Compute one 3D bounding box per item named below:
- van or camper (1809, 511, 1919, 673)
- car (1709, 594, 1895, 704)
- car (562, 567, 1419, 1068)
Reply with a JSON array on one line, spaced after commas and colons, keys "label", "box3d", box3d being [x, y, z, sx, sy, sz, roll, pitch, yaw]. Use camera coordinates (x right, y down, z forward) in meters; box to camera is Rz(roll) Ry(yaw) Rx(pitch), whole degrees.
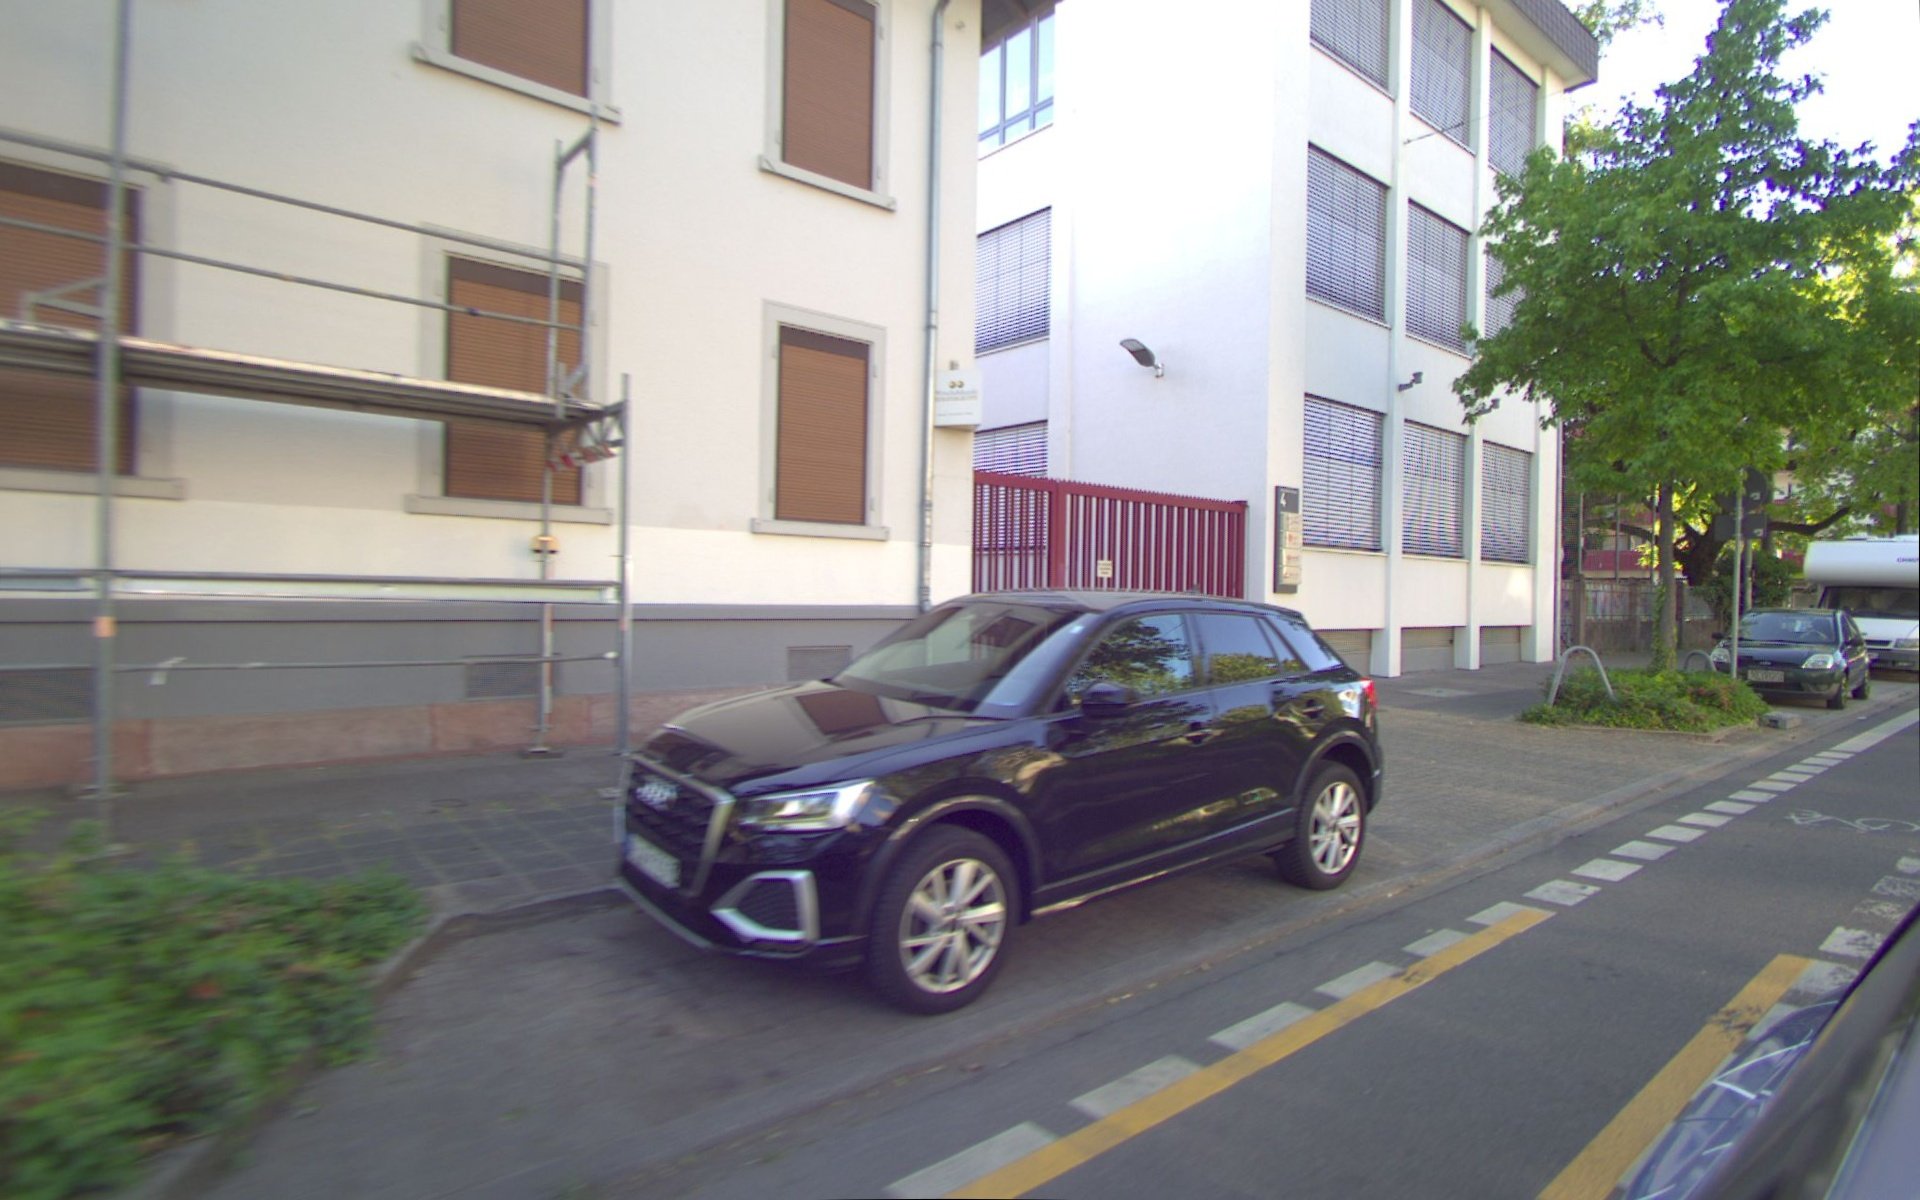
[{"label": "van or camper", "box3d": [21.015, -0.175, 22.342, 7.160, 3.131, 2.172, 0, 2, -40]}, {"label": "car", "box3d": [13.228, 0.678, 15.832, 3.735, 1.465, 1.655, 0, 2, -41]}, {"label": "car", "box3d": [0.375, 0.647, 5.017, 4.034, 1.502, 1.768, 0, 2, -38]}]
